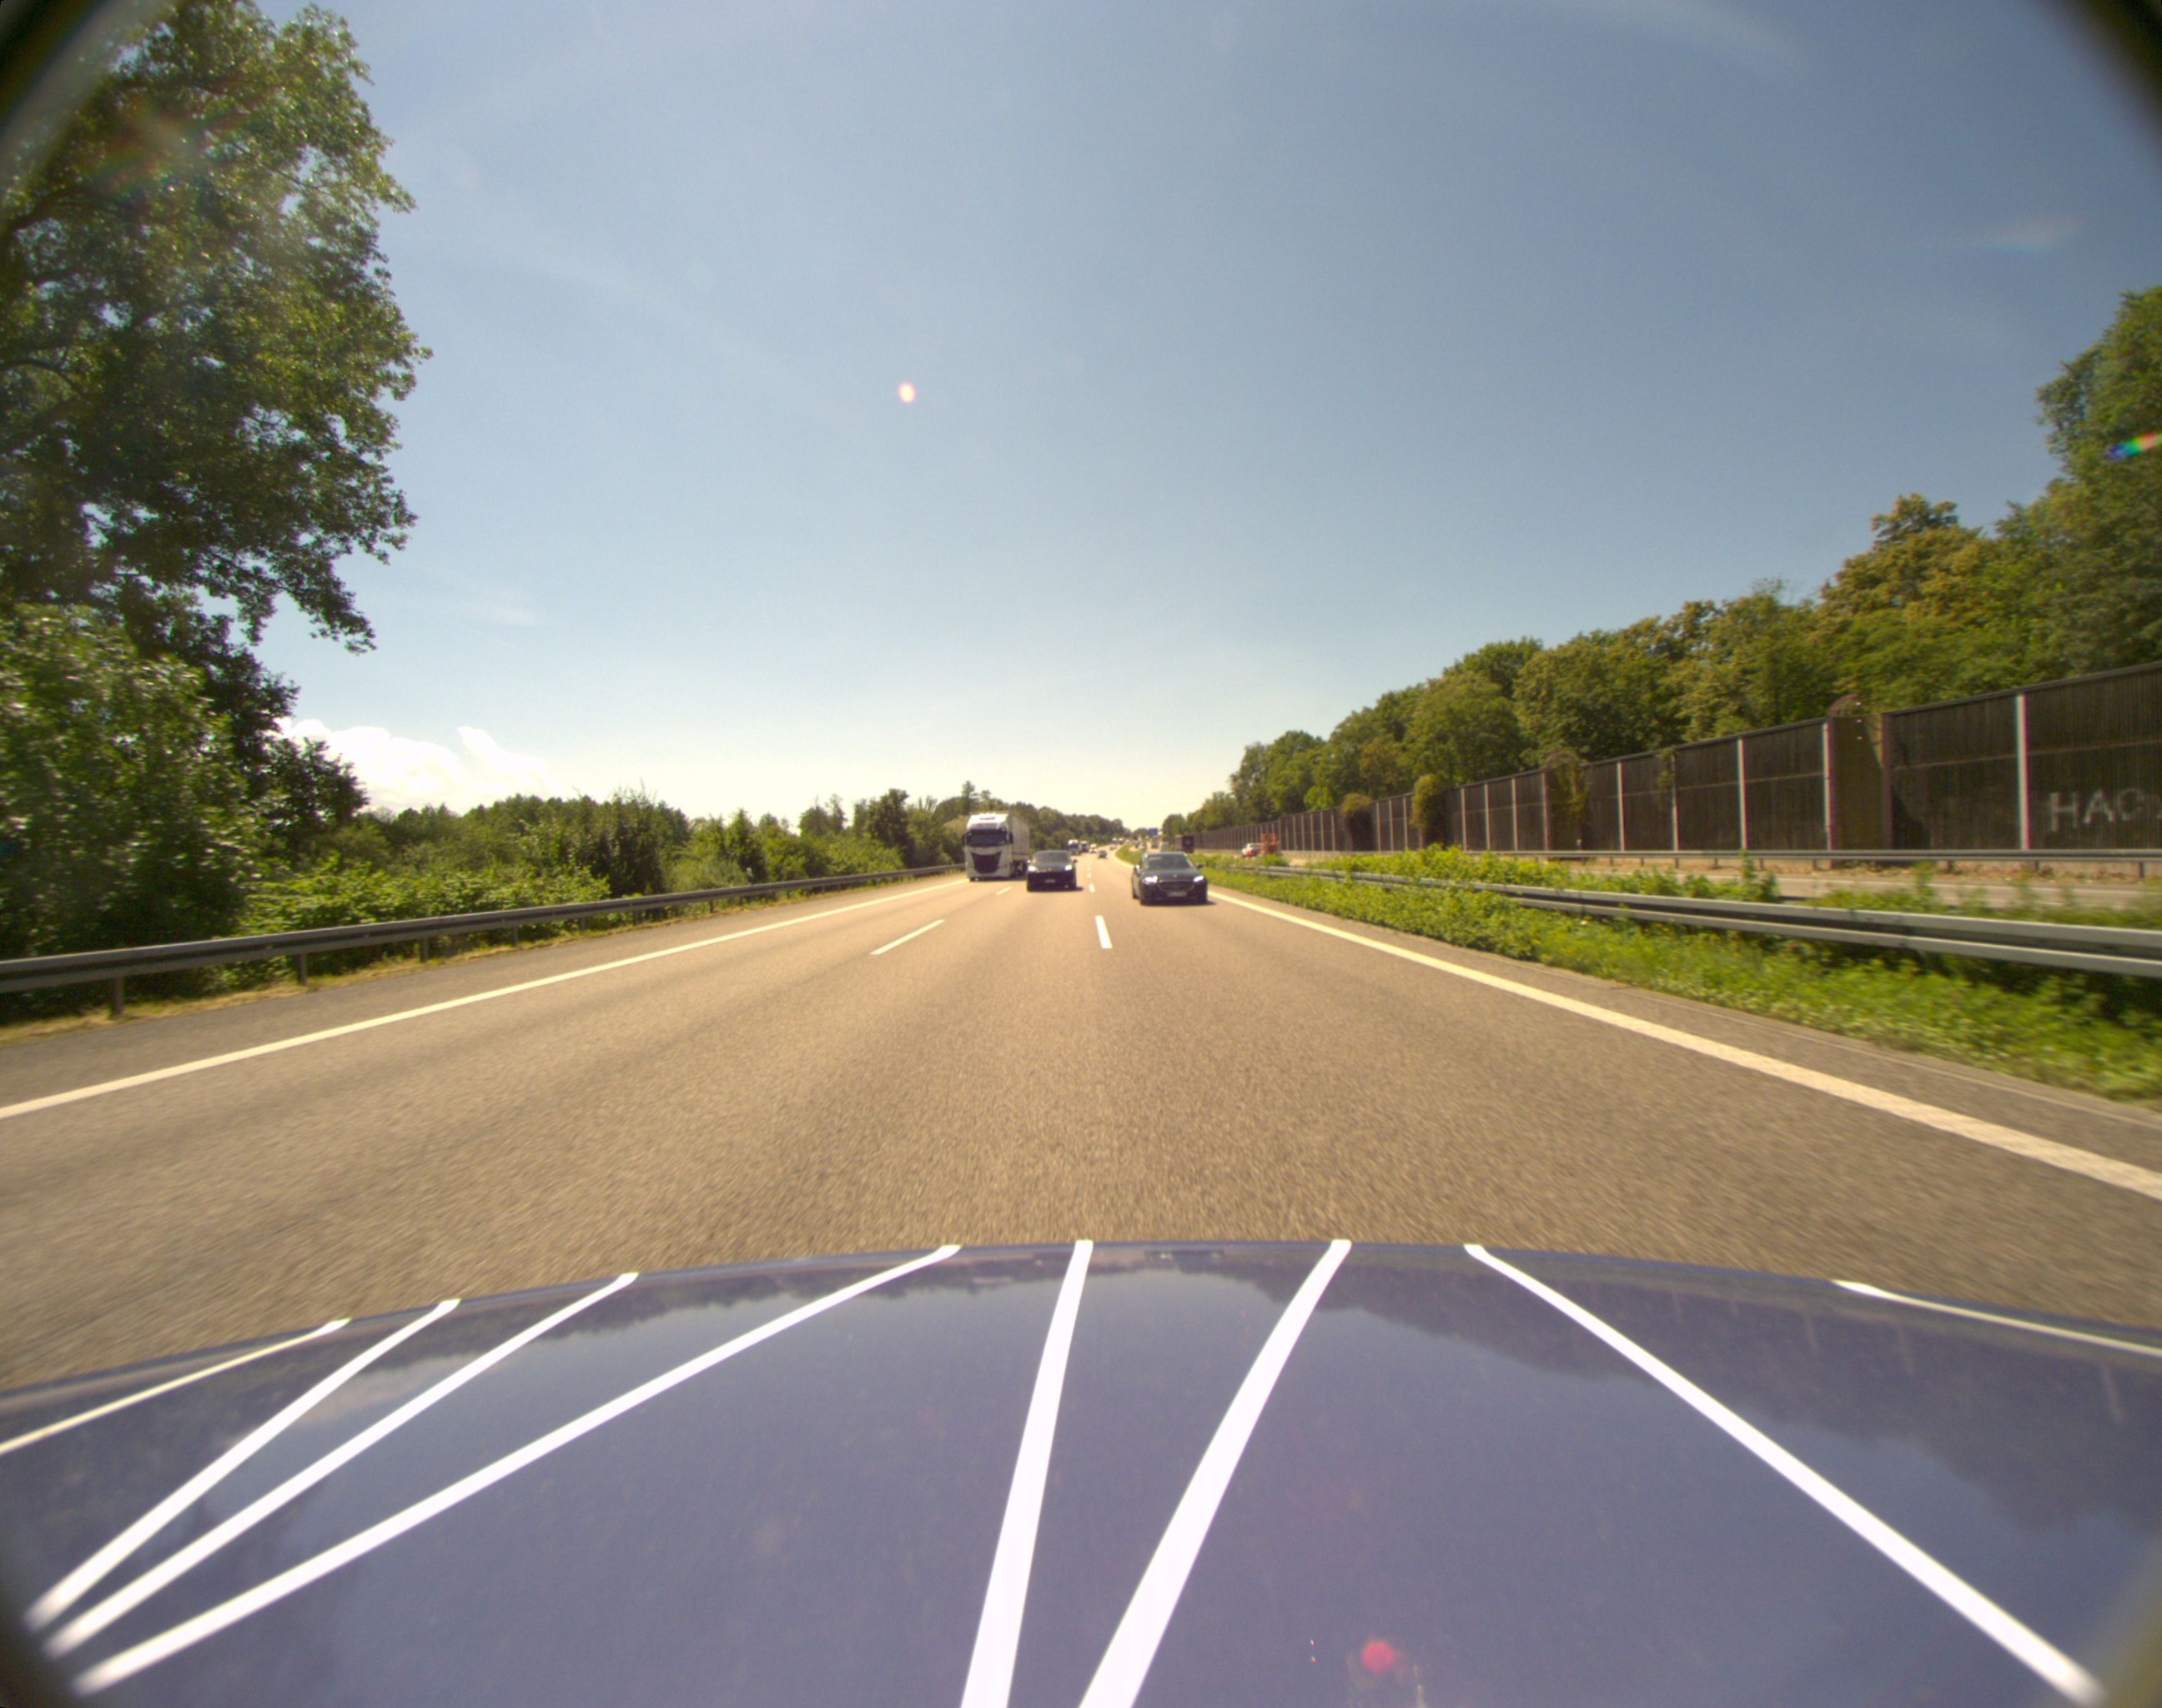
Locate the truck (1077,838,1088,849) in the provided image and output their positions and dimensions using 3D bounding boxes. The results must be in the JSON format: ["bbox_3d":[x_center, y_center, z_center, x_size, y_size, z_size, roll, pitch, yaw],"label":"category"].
[{"bbox_3d":[0.544,-3.567,254.332,3.074,3.618,12.401,-2,1,3],"label":"truck"}]

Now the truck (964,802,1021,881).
[{"bbox_3d":[-5.304,-0.759,46.592,2.542,4.446,5.572,-2,1,2],"label":"truck"}]

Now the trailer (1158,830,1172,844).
[{"bbox_3d":[25.084,-5.098,226.880,2.969,4.006,13.806,-2,1,1],"label":"trailer"}]

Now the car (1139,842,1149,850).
[{"bbox_3d":[15.311,-1.938,185.365,2.000,1.710,5.023,-3,0,1],"label":"car"}]

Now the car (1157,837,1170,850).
[{"bbox_3d":[18.045,-2.306,166.267,2.170,2.526,6.789,-3,0,1],"label":"car"}]

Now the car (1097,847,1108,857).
[{"bbox_3d":[3.800,-0.361,135.291,1.909,1.717,4.376,-2,1,2],"label":"car"}]

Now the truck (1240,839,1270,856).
[{"bbox_3d":[20.337,-0.747,89.010,2.106,1.805,6.210,-2,1,1],"label":"truck"}]

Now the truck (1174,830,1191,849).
[{"bbox_3d":[22.889,-3.301,171.606,2.906,4.069,6.116,-2,1,1],"label":"truck"}]

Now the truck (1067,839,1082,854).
[{"bbox_3d":[-1.590,-2.066,198.661,3.074,3.618,12.401,-2,1,3],"label":"truck"}]

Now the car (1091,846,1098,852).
[{"bbox_3d":[4.222,-1.489,233.476,1.909,1.717,4.870,-2,1,2],"label":"car"}]

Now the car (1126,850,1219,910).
[{"bbox_3d":[2.583,0.656,22.922,1.948,1.498,5.819,-2,1,-1],"label":"car"}]

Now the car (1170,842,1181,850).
[{"bbox_3d":[23.771,-2.038,190.846,1.998,1.870,5.959,-2,1,0],"label":"car"}]

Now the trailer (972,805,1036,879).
[{"bbox_3d":[-5.127,-0.855,53.634,2.542,4.446,14.159,-2,1,2],"label":"trailer"}]

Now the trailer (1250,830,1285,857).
[{"bbox_3d":[20.210,-1.171,82.621,2.248,2.760,6.509,-2,1,1],"label":"trailer"}]

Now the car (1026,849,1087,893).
[{"bbox_3d":[-0.947,0.645,32.644,2.048,1.616,5.772,-2,1,3],"label":"car"}]

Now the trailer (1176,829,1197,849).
[{"bbox_3d":[22.762,-3.171,164.451,2.906,4.069,13.331,-2,1,1],"label":"trailer"}]
